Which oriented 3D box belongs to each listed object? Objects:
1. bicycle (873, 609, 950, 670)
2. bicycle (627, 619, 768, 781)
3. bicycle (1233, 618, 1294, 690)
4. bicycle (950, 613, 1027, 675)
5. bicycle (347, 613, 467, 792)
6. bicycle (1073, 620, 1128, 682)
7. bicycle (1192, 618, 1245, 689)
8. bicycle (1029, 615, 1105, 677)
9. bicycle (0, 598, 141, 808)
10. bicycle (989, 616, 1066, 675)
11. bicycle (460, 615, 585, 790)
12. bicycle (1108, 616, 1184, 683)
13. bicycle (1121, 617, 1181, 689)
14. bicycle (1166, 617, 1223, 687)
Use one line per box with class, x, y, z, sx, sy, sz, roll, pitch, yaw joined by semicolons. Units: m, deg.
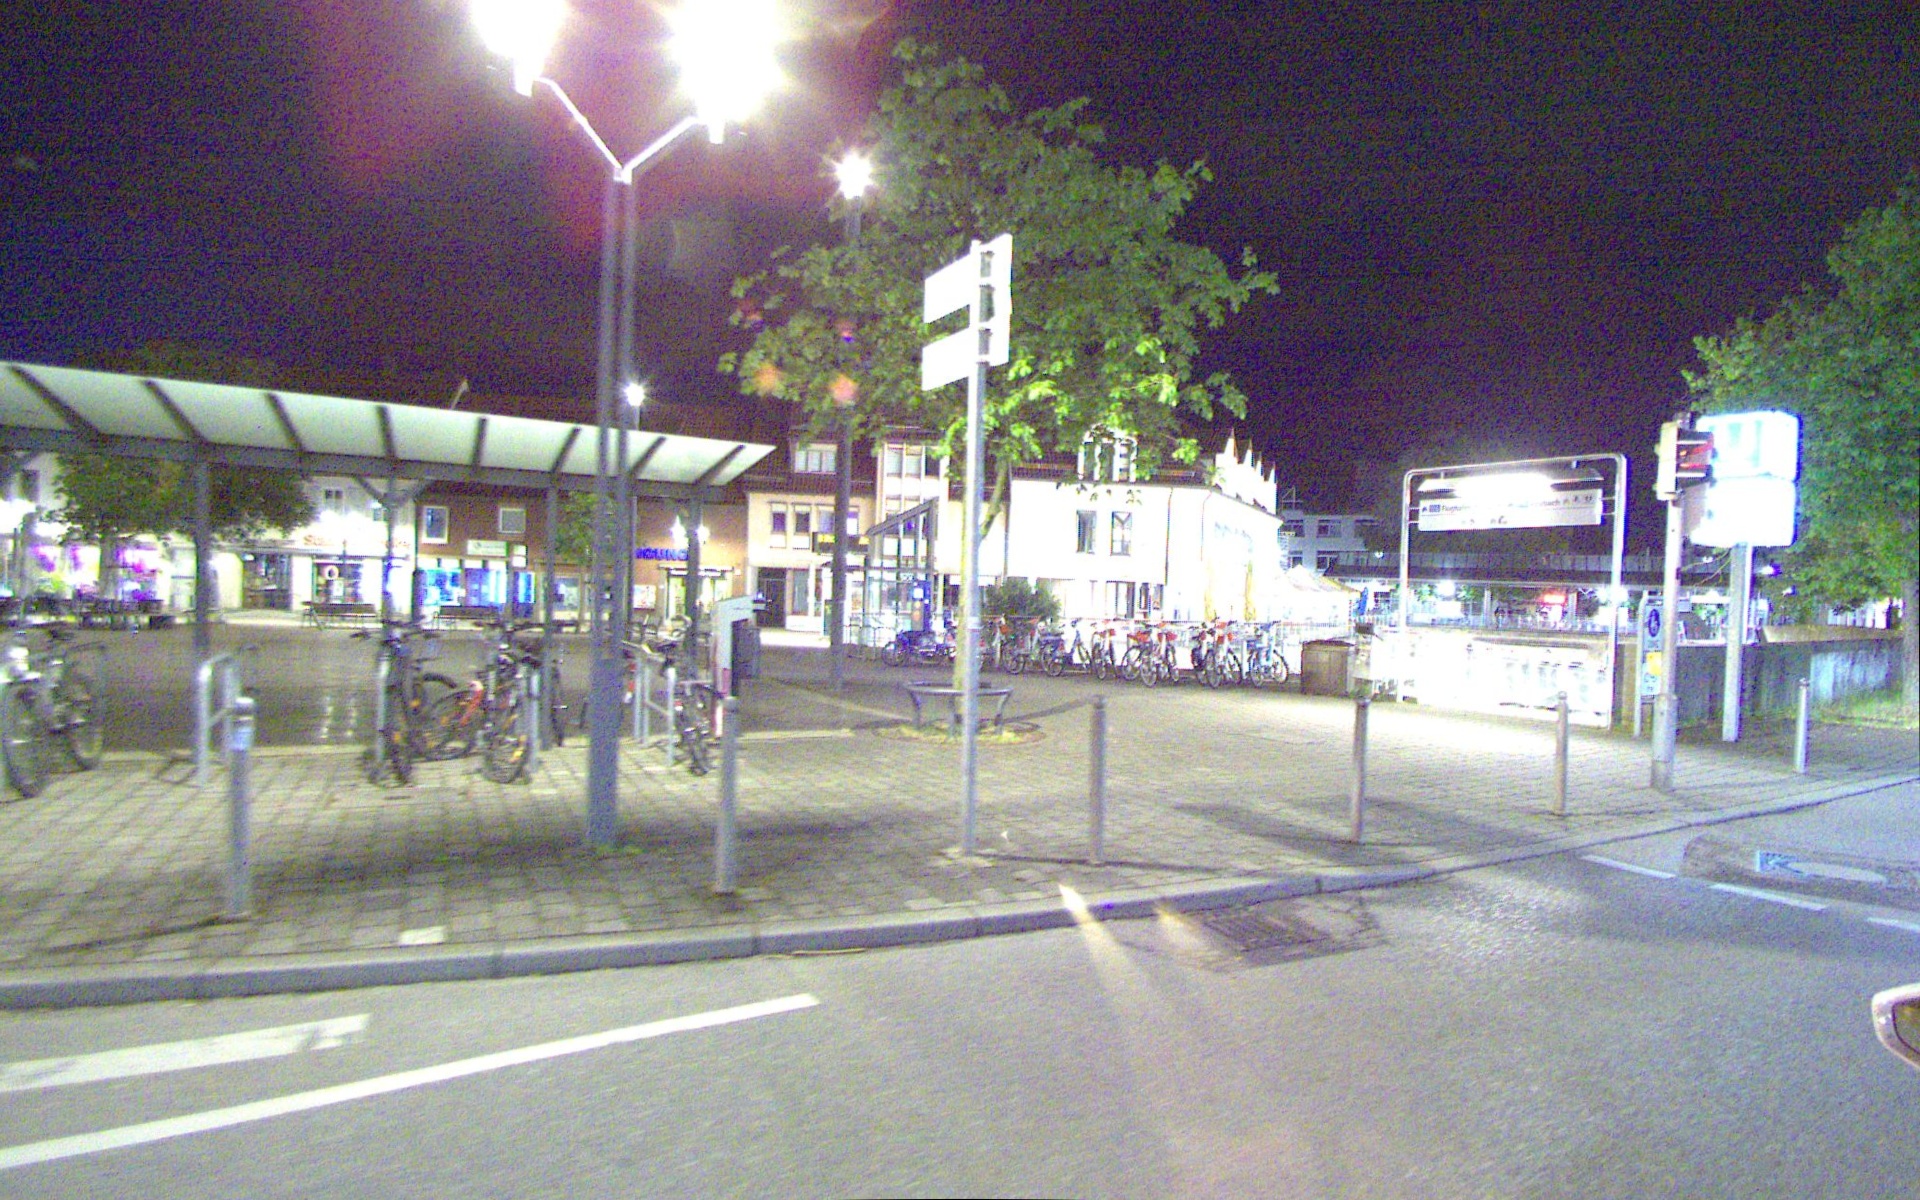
bicycle;-1.008;0.807;21.326;0.600;1.235;1.738;0;0;41
bicycle;-2.168;0.748;8.153;0.662;1.120;1.608;2;0;-30
bicycle;5.446;0.926;17.936;0.747;1.177;1.745;0;0;27
bicycle;0.595;0.869;20.293;0.600;1.181;1.738;0;0;41
bicycle;-4.069;0.685;7.379;0.662;1.120;1.608;2;0;-30
bicycle;2.702;0.941;19.134;0.597;1.084;1.746;0;0;23
bicycle;4.595;0.916;17.790;0.535;1.170;1.745;0;0;27
bicycle;2.112;0.883;19.712;0.600;1.140;1.738;0;0;41
bicycle;-5.918;0.591;6.501;0.662;1.179;1.760;1;0;-30
bicycle;1.375;0.891;20.206;0.600;1.115;1.738;0;0;41
bicycle;-3.348;0.711;7.618;0.662;1.120;1.608;2;0;-30
bicycle;3.522;0.903;18.946;0.600;1.181;1.737;0;0;42
bicycle;3.419;0.910;17.867;0.597;1.181;1.745;0;0;27
bicycle;4.261;0.909;18.192;0.597;1.181;1.745;0;0;27
